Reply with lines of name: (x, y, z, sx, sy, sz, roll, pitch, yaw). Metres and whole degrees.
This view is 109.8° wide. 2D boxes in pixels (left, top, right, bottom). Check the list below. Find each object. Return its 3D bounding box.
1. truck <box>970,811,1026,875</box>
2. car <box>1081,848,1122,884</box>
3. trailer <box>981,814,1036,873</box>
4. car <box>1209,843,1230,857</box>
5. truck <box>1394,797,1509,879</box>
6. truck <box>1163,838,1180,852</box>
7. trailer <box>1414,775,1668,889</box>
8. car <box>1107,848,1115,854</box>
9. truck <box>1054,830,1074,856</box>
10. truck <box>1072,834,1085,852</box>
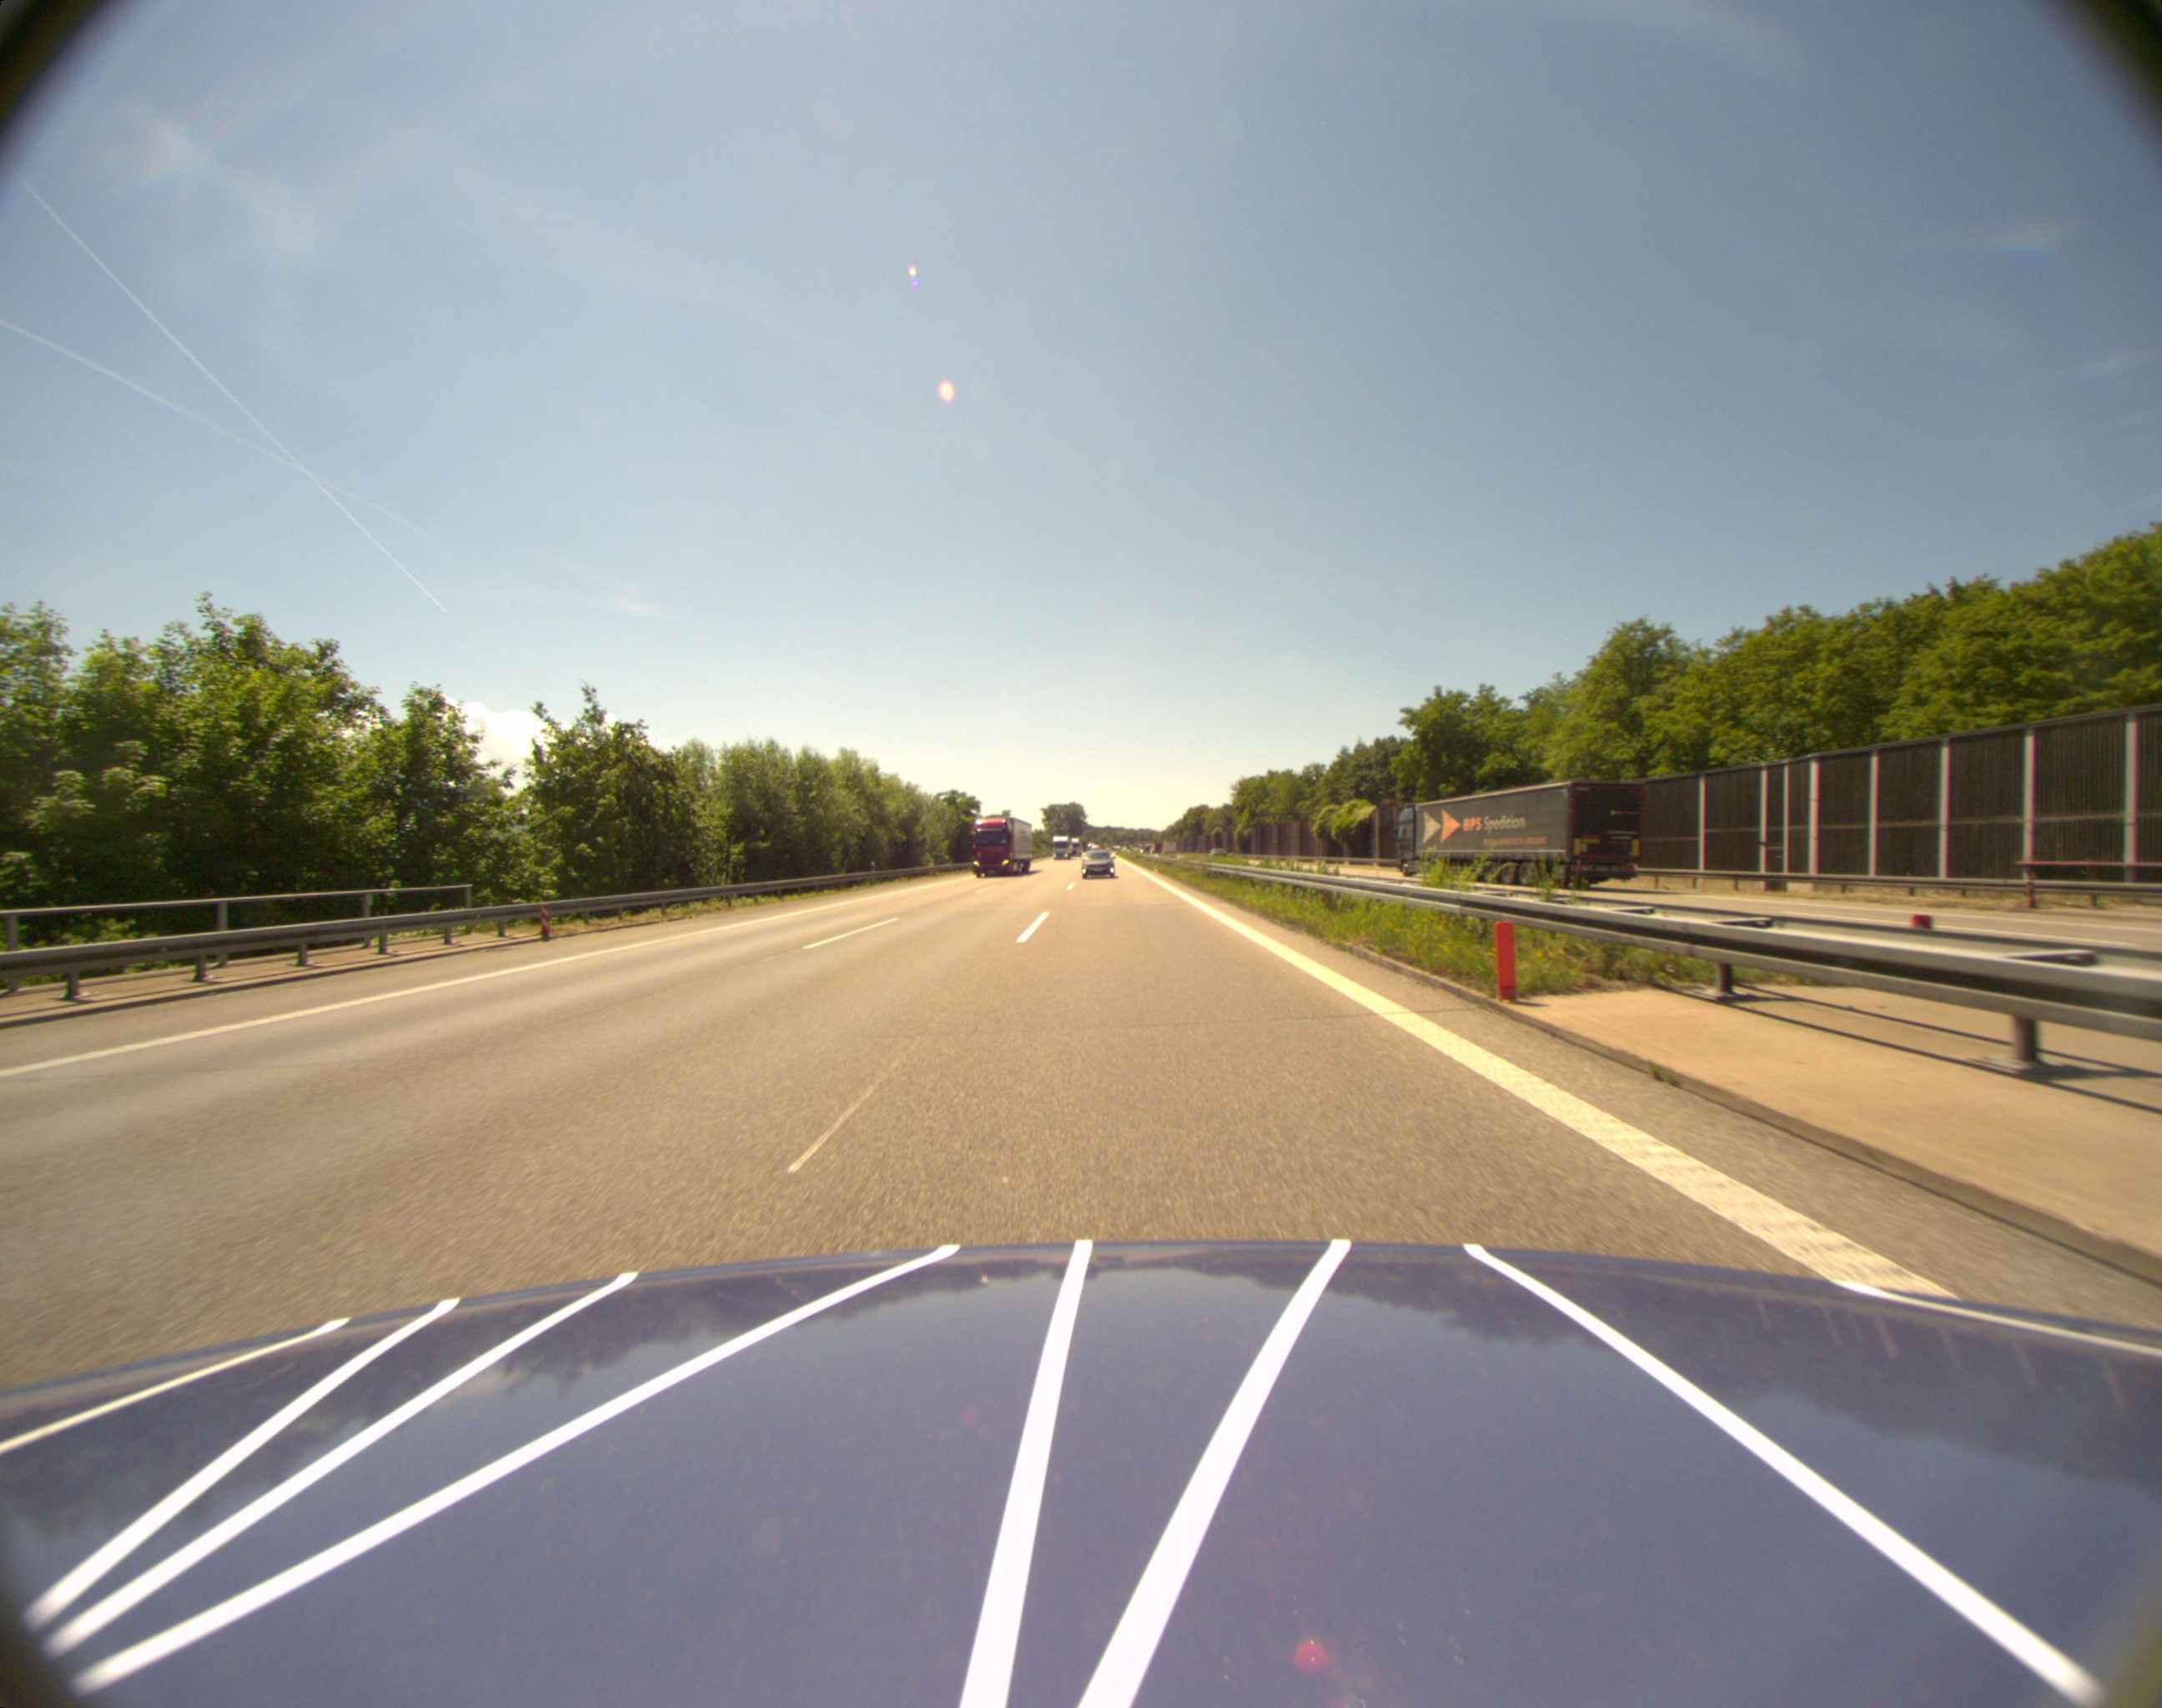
truck: (-5.707, -0.759, 53.839, 2.802, 4.094, 7.769, -2, 1, 1)
car: (1.015, 0.568, 39.260, 1.885, 1.630, 5.008, -2, 1, 1)
trailer: (-5.595, -0.881, 60.710, 2.802, 4.094, 12.298, -2, 1, 1)
car: (16.797, -0.522, 92.437, 2.001, 1.565, 4.000, -2, 1, 4)
truck: (19.473, -0.816, 40.452, 3.100, 3.985, 6.190, 1, 1, 1)
truck: (25.488, -2.522, 215.134, 3.556, 3.662, 10.967, -2, 1, 1)
trailer: (19.257, -0.897, 33.730, 3.124, 3.985, 13.874, 1, 1, 2)
car: (8.351, -0.871, 213.167, 1.999, 1.773, 3.999, -2, 1, -1)
truck: (-2.903, -2.010, 133.531, 2.991, 4.249, 9.822, -2, 1, 1)
truck: (-0.518, -2.540, 173.764, 2.743, 3.844, 12.464, -2, 1, 1)
